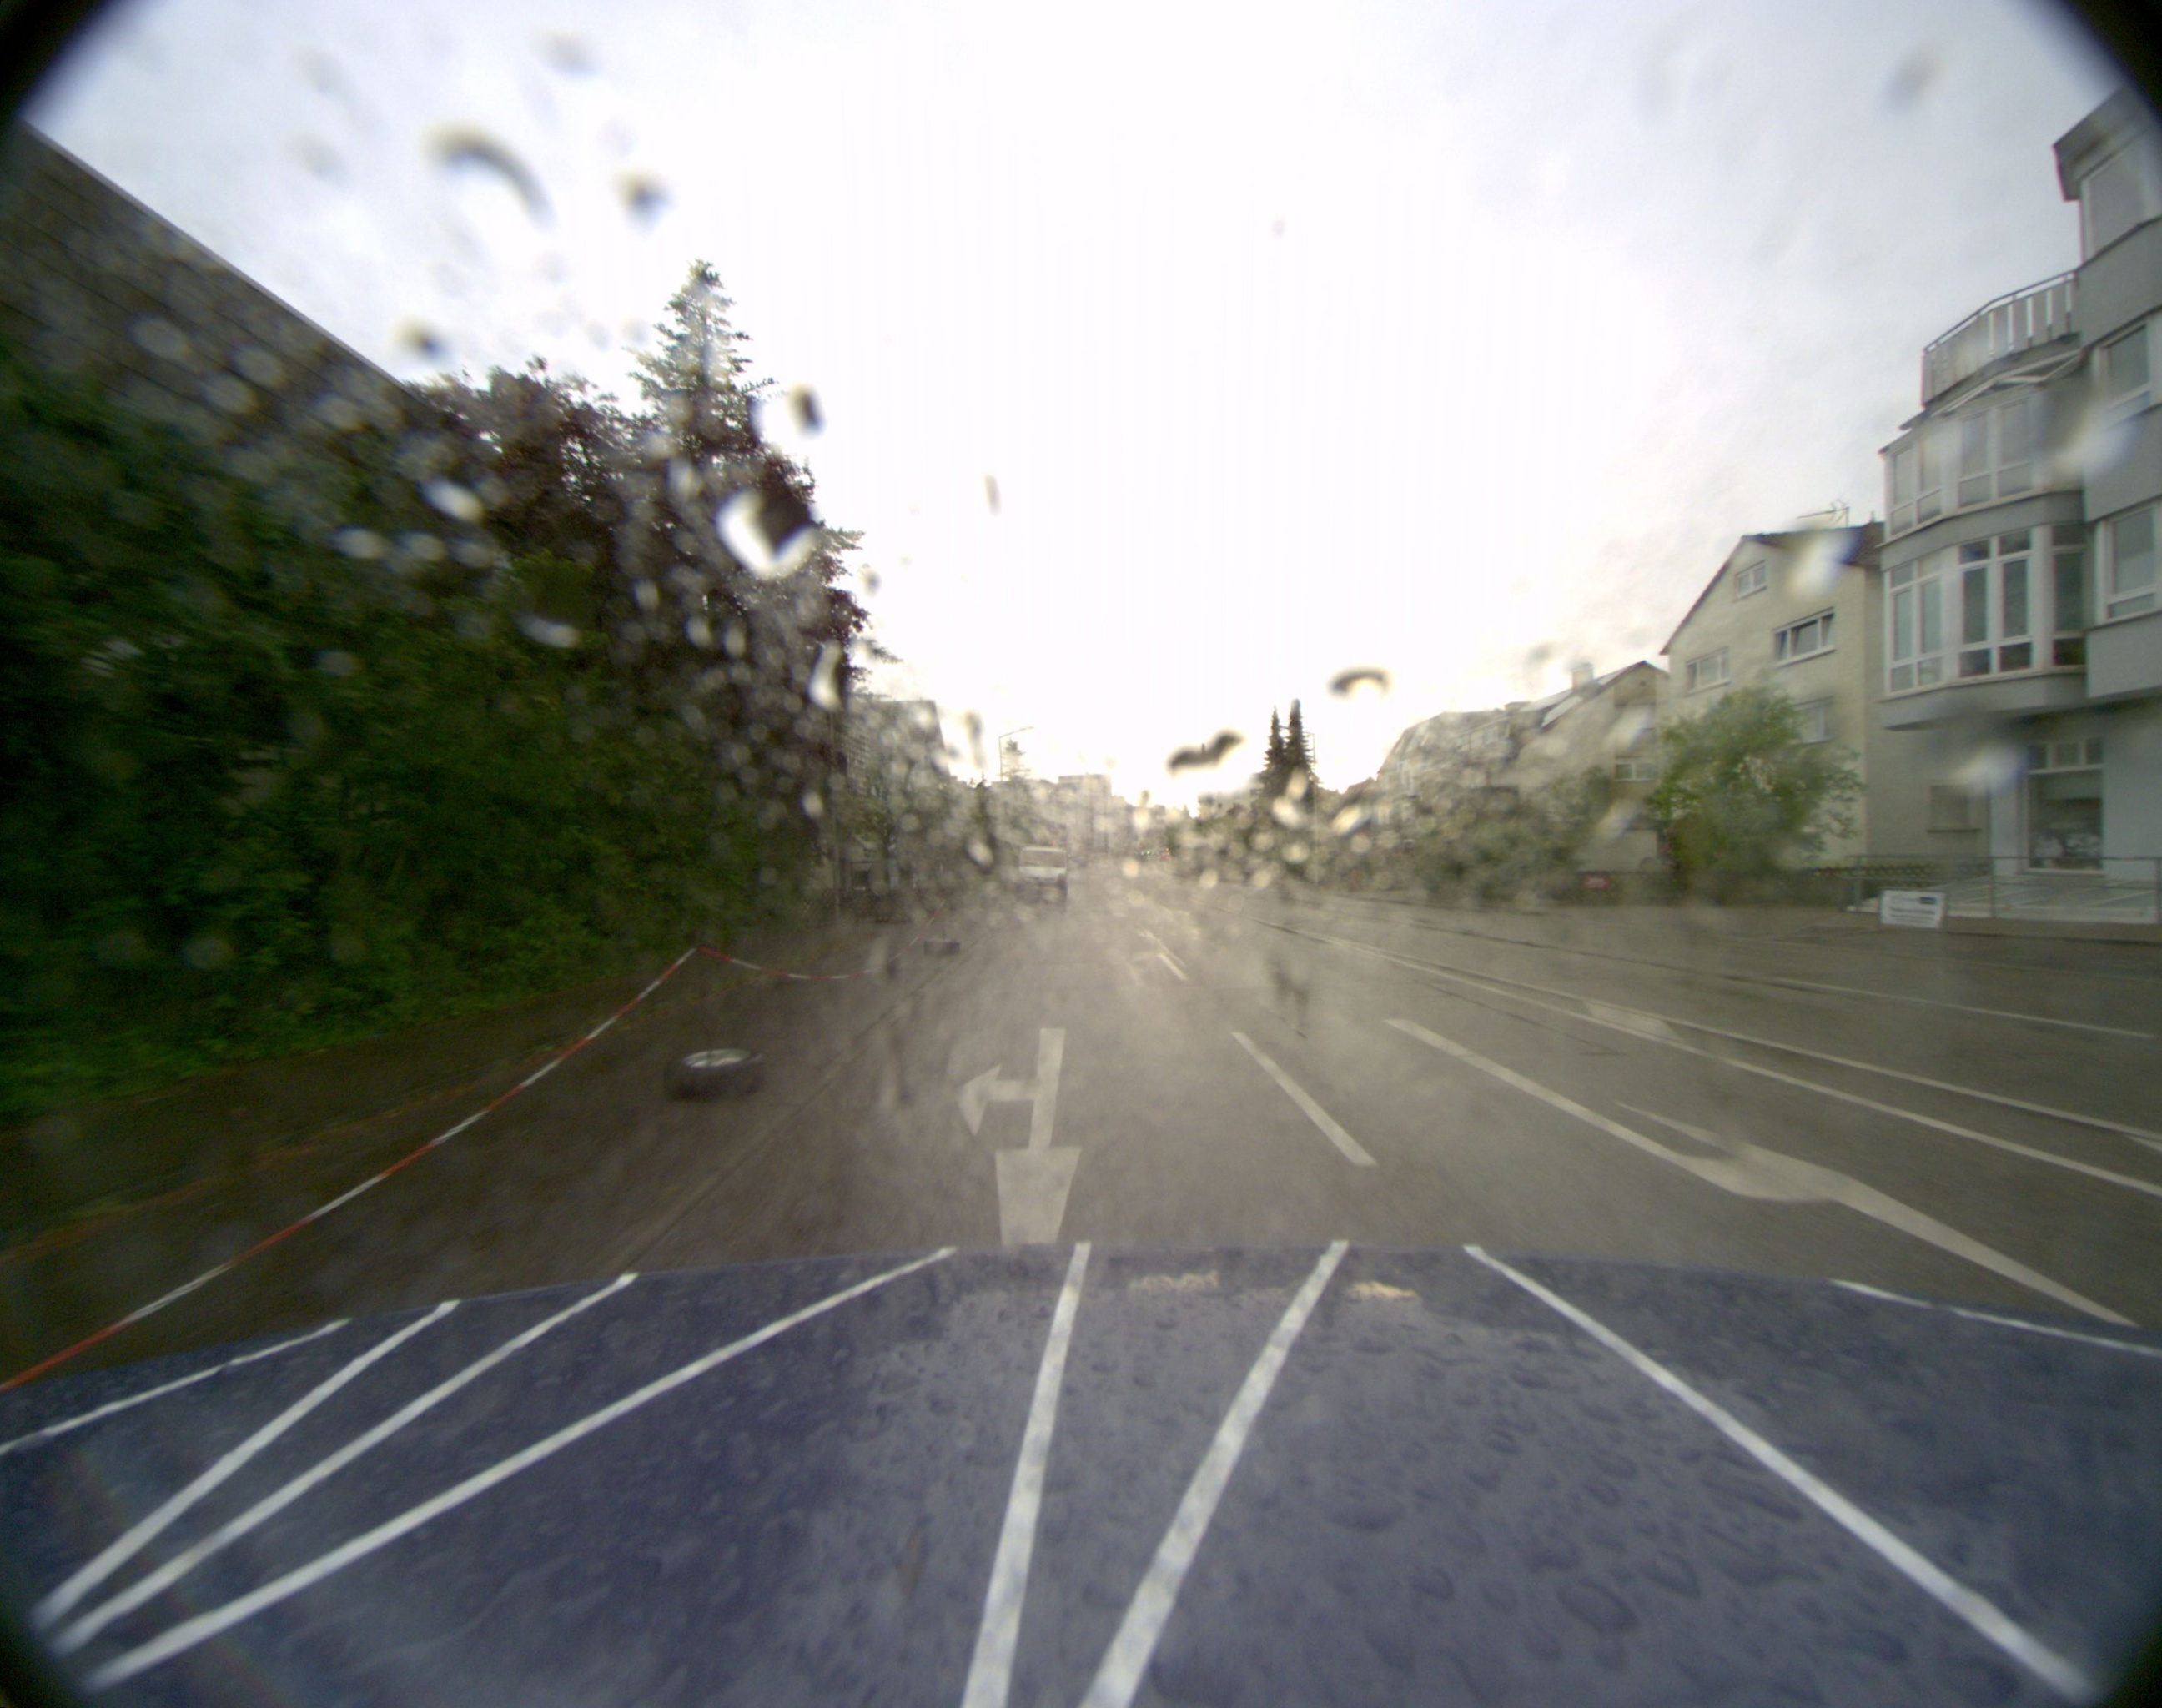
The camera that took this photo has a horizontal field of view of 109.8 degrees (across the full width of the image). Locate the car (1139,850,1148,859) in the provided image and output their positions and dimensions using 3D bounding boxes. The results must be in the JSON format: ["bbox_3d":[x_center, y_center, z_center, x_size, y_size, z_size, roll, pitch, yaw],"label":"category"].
[{"bbox_3d":[13.590,0.124,165.327,1.851,1.870,4.122,-1,0,4],"label":"car"}]

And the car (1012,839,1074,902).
[{"bbox_3d":[-1.488,0.663,32.499,2.397,2.417,6.432,0,0,-1],"label":"car"}]

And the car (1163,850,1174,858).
[{"bbox_3d":[18.648,-0.077,161.877,1.997,1.606,4.003,-1,0,10],"label":"car"}]

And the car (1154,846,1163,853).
[{"bbox_3d":[19.948,-1.040,195.750,1.851,1.753,4.124,-1,0,10],"label":"car"}]

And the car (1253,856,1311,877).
[{"bbox_3d":[15.498,0.972,58.792,4.034,1.433,1.813,-3,0,5],"label":"car"}]

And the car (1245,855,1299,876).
[{"bbox_3d":[16.038,0.935,64.014,4.114,1.536,2.001,-3,0,5],"label":"car"}]

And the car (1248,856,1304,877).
[{"bbox_3d":[15.683,0.996,61.295,4.155,1.434,1.891,-3,0,7],"label":"car"}]

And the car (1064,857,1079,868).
[{"bbox_3d":[-1.370,1.241,114.755,1.912,1.622,3.703,-1,0,4],"label":"car"}]
